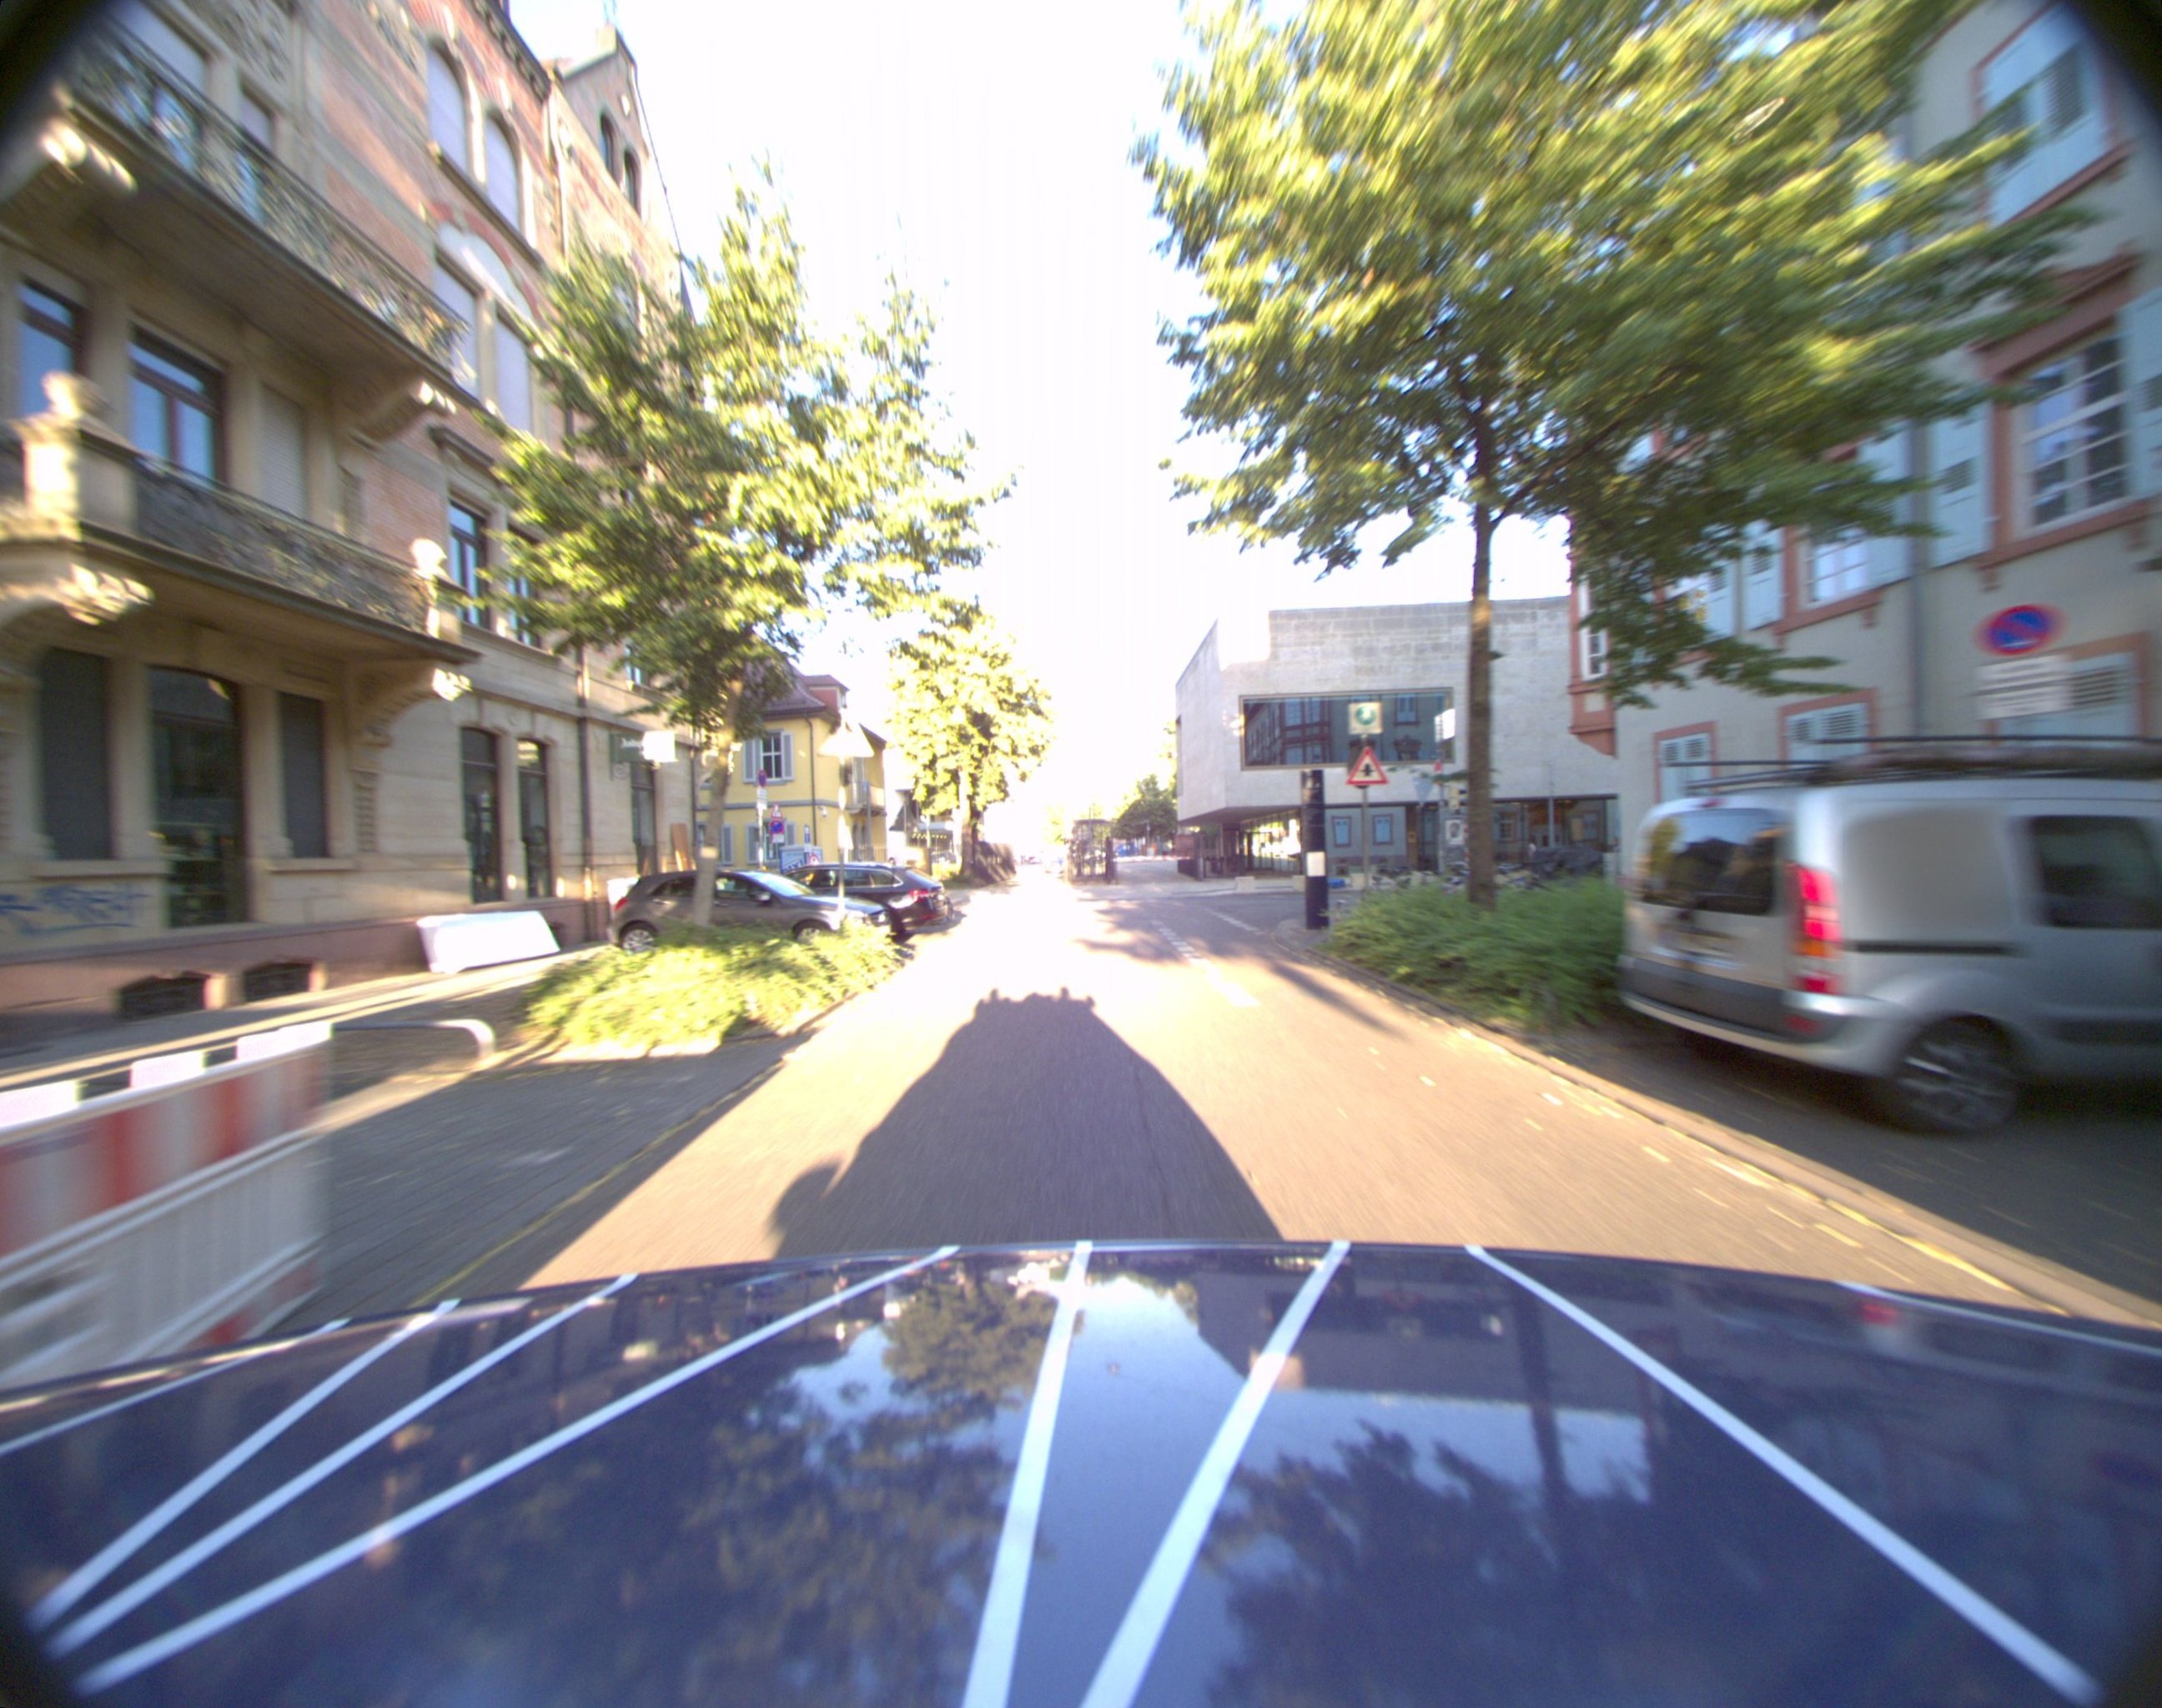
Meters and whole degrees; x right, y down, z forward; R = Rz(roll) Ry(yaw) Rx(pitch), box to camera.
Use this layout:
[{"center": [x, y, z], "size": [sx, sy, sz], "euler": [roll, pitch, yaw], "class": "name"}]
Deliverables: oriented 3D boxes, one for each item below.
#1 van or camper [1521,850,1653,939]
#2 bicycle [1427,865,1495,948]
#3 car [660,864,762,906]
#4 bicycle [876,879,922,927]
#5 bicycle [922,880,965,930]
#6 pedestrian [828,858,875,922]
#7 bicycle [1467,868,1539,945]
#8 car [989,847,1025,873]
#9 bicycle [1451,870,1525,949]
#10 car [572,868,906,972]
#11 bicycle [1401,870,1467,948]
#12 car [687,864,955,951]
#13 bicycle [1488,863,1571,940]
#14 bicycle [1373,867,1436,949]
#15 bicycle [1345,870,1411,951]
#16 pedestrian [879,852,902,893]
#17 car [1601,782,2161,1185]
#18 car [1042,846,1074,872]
[{"center": [7.983, 0.589, 12.109], "size": [0.943, 1.252, 1.845], "euler": [-3, 1, 5], "class": "van or camper"}, {"center": [5.891, 0.775, 11.851], "size": [0.312, 1.142, 1.612], "euler": [-2, 1, 3], "class": "bicycle"}, {"center": [-14.197, 1.182, 29.222], "size": [3.216, 1.511, 1.547], "euler": [-1, -1, 11], "class": "car"}, {"center": [-4.309, 1.138, 18.125], "size": [0.639, 1.008, 1.832], "euler": [-1, 0, 0], "class": "bicycle"}, {"center": [-3.205, 1.164, 17.832], "size": [0.571, 1.041, 1.832], "euler": [-1, 0, 3], "class": "bicycle"}, {"center": [-6.204, 0.951, 20.548], "size": [0.962, 1.649, 0.638], "euler": [-3, 1, -41], "class": "pedestrian"}, {"center": [6.642, 0.794, 12.026], "size": [0.323, 1.076, 1.596], "euler": [-2, 1, 3], "class": "bicycle"}, {"center": [-5.237, 0.392, 54.044], "size": [1.707, 1.727, 4.065], "euler": [0, 1, 6], "class": "car"}, {"center": [6.229, 0.809, 11.694], "size": [0.341, 1.075, 1.596], "euler": [-1, 1, 3], "class": "bicycle"}, {"center": [-5.360, 1.011, 12.304], "size": [4.537, 1.471, 1.868], "euler": [-1, 1, 3], "class": "car"}, {"center": [5.498, 0.818, 11.911], "size": [0.319, 1.075, 1.597], "euler": [-4, 1, 3], "class": "bicycle"}, {"center": [-4.900, 0.996, 14.831], "size": [4.538, 1.502, 1.911], "euler": [-1, 1, 0], "class": "car"}, {"center": [7.023, 0.710, 11.971], "size": [0.396, 1.075, 1.597], "euler": [-4, 1, 3], "class": "bicycle"}, {"center": [5.020, 0.802, 11.875], "size": [0.331, 1.134, 1.596], "euler": [-4, 1, 3], "class": "bicycle"}, {"center": [4.636, 0.844, 11.969], "size": [0.396, 1.102, 1.712], "euler": [-4, 1, 3], "class": "bicycle"}, {"center": [-7.482, 0.727, 29.849], "size": [0.672, 1.585, 0.469], "euler": [-1, 1, 13], "class": "pedestrian"}, {"center": [5.449, 0.570, 4.270], "size": [3.819, 1.839, 1.700], "euler": [-1, 1, 4], "class": "car"}, {"center": [-1.497, 0.326, 50.648], "size": [1.709, 1.575, 3.679], "euler": [-2, 1, 3], "class": "car"}]
